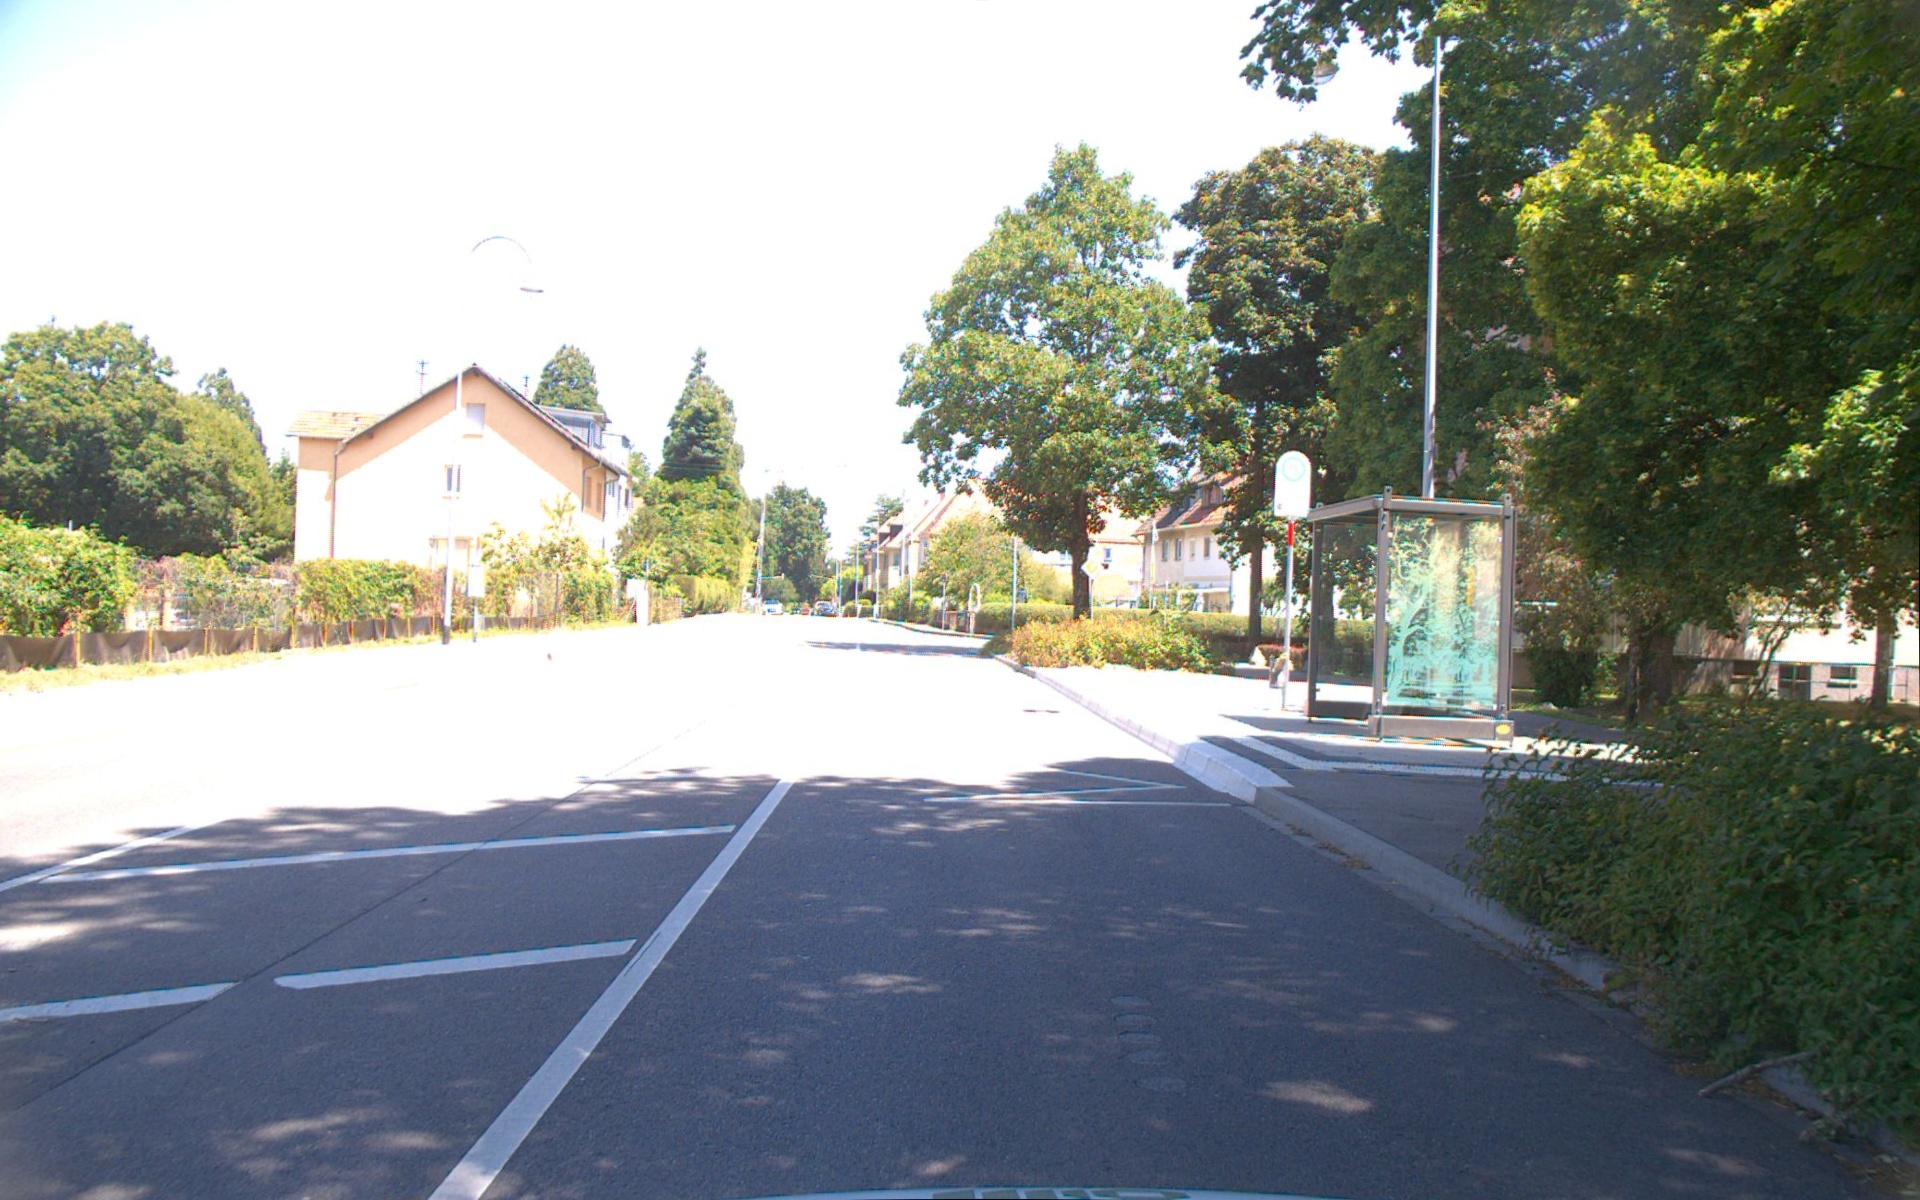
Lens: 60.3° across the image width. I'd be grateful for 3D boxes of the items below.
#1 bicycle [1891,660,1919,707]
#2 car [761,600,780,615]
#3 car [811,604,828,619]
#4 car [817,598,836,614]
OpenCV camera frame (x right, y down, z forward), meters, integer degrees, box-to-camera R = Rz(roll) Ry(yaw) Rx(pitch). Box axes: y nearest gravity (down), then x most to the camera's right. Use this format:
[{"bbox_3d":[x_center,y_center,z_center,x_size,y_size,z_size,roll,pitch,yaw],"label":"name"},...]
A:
[{"bbox_3d":[23.204,2.015,39.435,0.708,1.085,2.184,2,0,-1],"label":"bicycle"},{"bbox_3d":[-17.726,0.671,154.687,1.648,1.396,4.201,1,0,-5],"label":"car"},{"bbox_3d":[-15.186,1.241,178.654,1.661,1.444,4.542,2,-2,-8],"label":"car"},{"bbox_3d":[-13.693,0.595,169.092,1.661,1.444,4.542,2,-2,-8],"label":"car"}]
